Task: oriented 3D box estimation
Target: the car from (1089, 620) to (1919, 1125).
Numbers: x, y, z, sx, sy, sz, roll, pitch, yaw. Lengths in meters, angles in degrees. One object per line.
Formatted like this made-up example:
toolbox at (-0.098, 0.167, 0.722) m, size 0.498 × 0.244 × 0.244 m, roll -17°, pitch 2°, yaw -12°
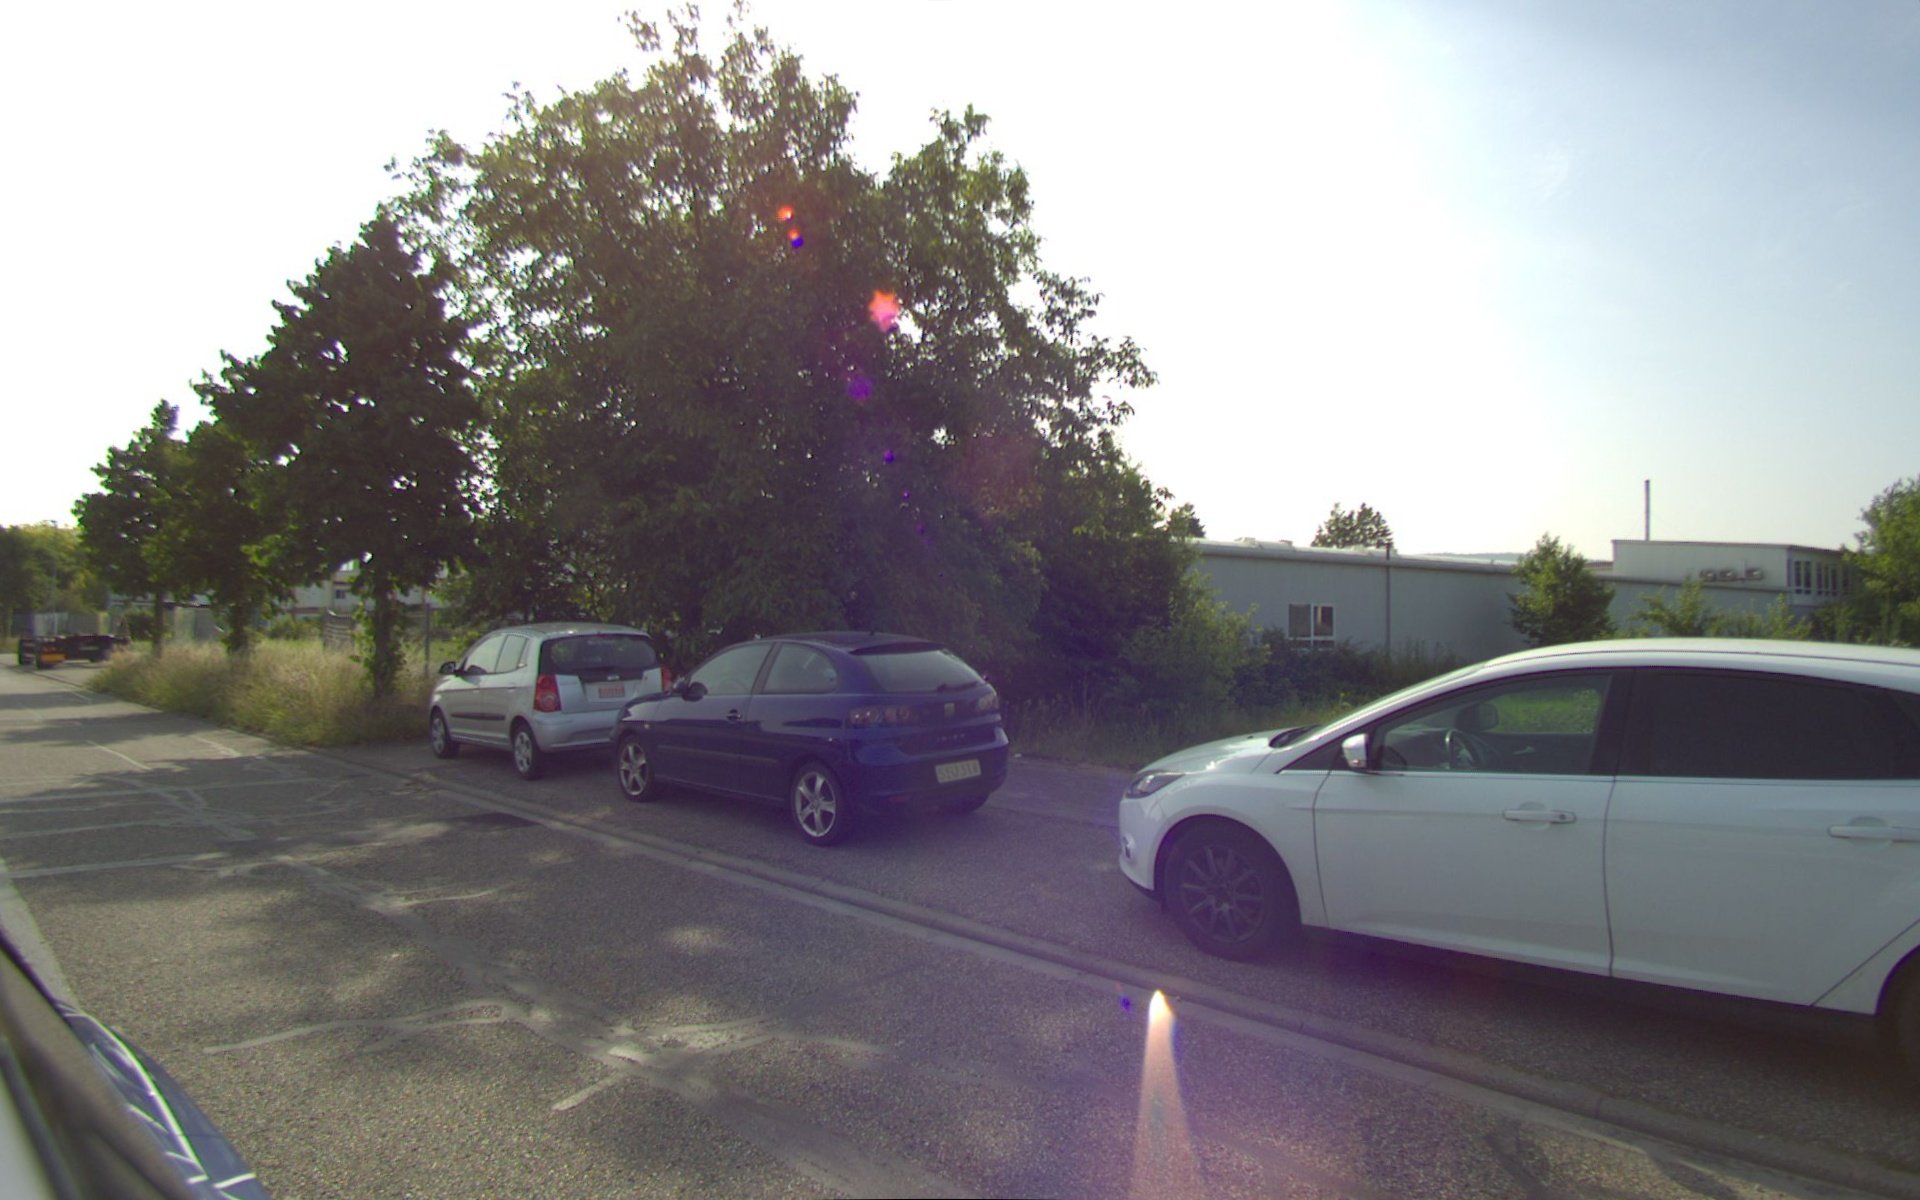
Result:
car at (2.772, 0.836, 4.212) m, size 4.253 × 1.480 × 1.665 m, roll -1°, pitch -1°, yaw 42°

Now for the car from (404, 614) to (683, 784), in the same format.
car at (-4.701, 0.944, 11.175) m, size 3.690 × 1.550 × 1.549 m, roll -1°, pitch -1°, yaw 45°

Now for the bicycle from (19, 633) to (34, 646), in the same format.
bicycle at (-68.364, 2.878, 74.095) m, size 2.451 × 0.980 × 0.556 m, roll -1°, pitch -3°, yaw 42°

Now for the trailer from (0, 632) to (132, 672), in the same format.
trailer at (-32.404, 1.788, 36.493) m, size 9.360 × 1.193 × 2.555 m, roll -1°, pitch -1°, yaw 42°

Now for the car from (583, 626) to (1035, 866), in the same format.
car at (-1.412, 0.960, 8.244) m, size 3.964 × 1.454 × 1.561 m, roll -1°, pitch -1°, yaw 44°
